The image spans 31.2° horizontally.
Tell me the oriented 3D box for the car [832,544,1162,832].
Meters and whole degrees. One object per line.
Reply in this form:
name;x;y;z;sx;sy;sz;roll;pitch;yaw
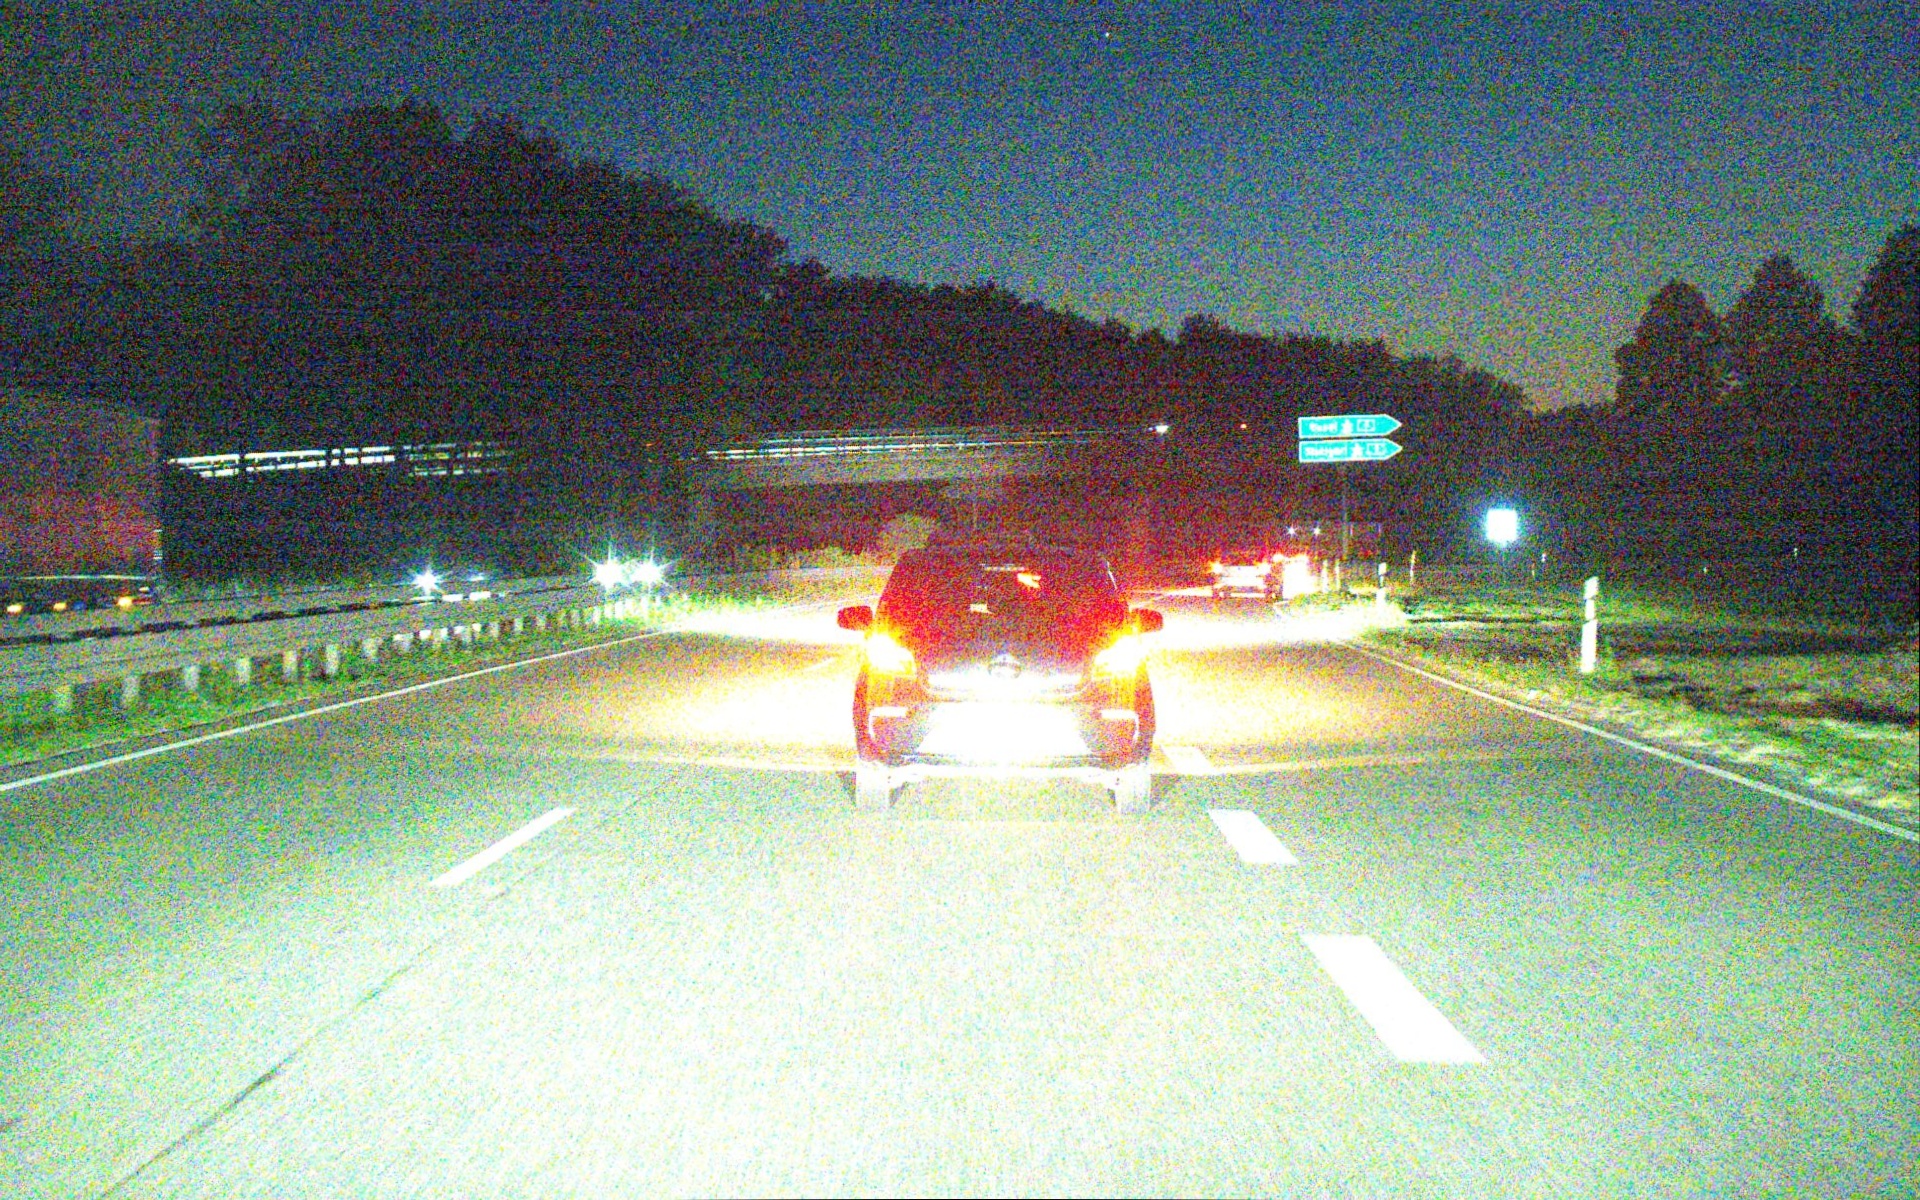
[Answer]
car;0.206;0.421;19.739;1.691;1.473;4.000;0;1;0

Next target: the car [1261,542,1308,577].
car;16.238;-2.031;172.144;1.951;1.533;4.241;-5;-1;1

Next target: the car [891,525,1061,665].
car;0.185;-0.104;41.881;1.940;1.603;4.644;0;1;0

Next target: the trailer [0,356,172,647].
trailer;-14.914;-1.455;51.319;2.676;4.135;13.746;0;1;2

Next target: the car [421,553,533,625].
car;-11.859;-0.293;84.566;1.994;1.678;4.000;0;1;3

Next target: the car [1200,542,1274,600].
car;7.922;-0.842;98.599;1.733;1.612;3.799;0;1;-1
